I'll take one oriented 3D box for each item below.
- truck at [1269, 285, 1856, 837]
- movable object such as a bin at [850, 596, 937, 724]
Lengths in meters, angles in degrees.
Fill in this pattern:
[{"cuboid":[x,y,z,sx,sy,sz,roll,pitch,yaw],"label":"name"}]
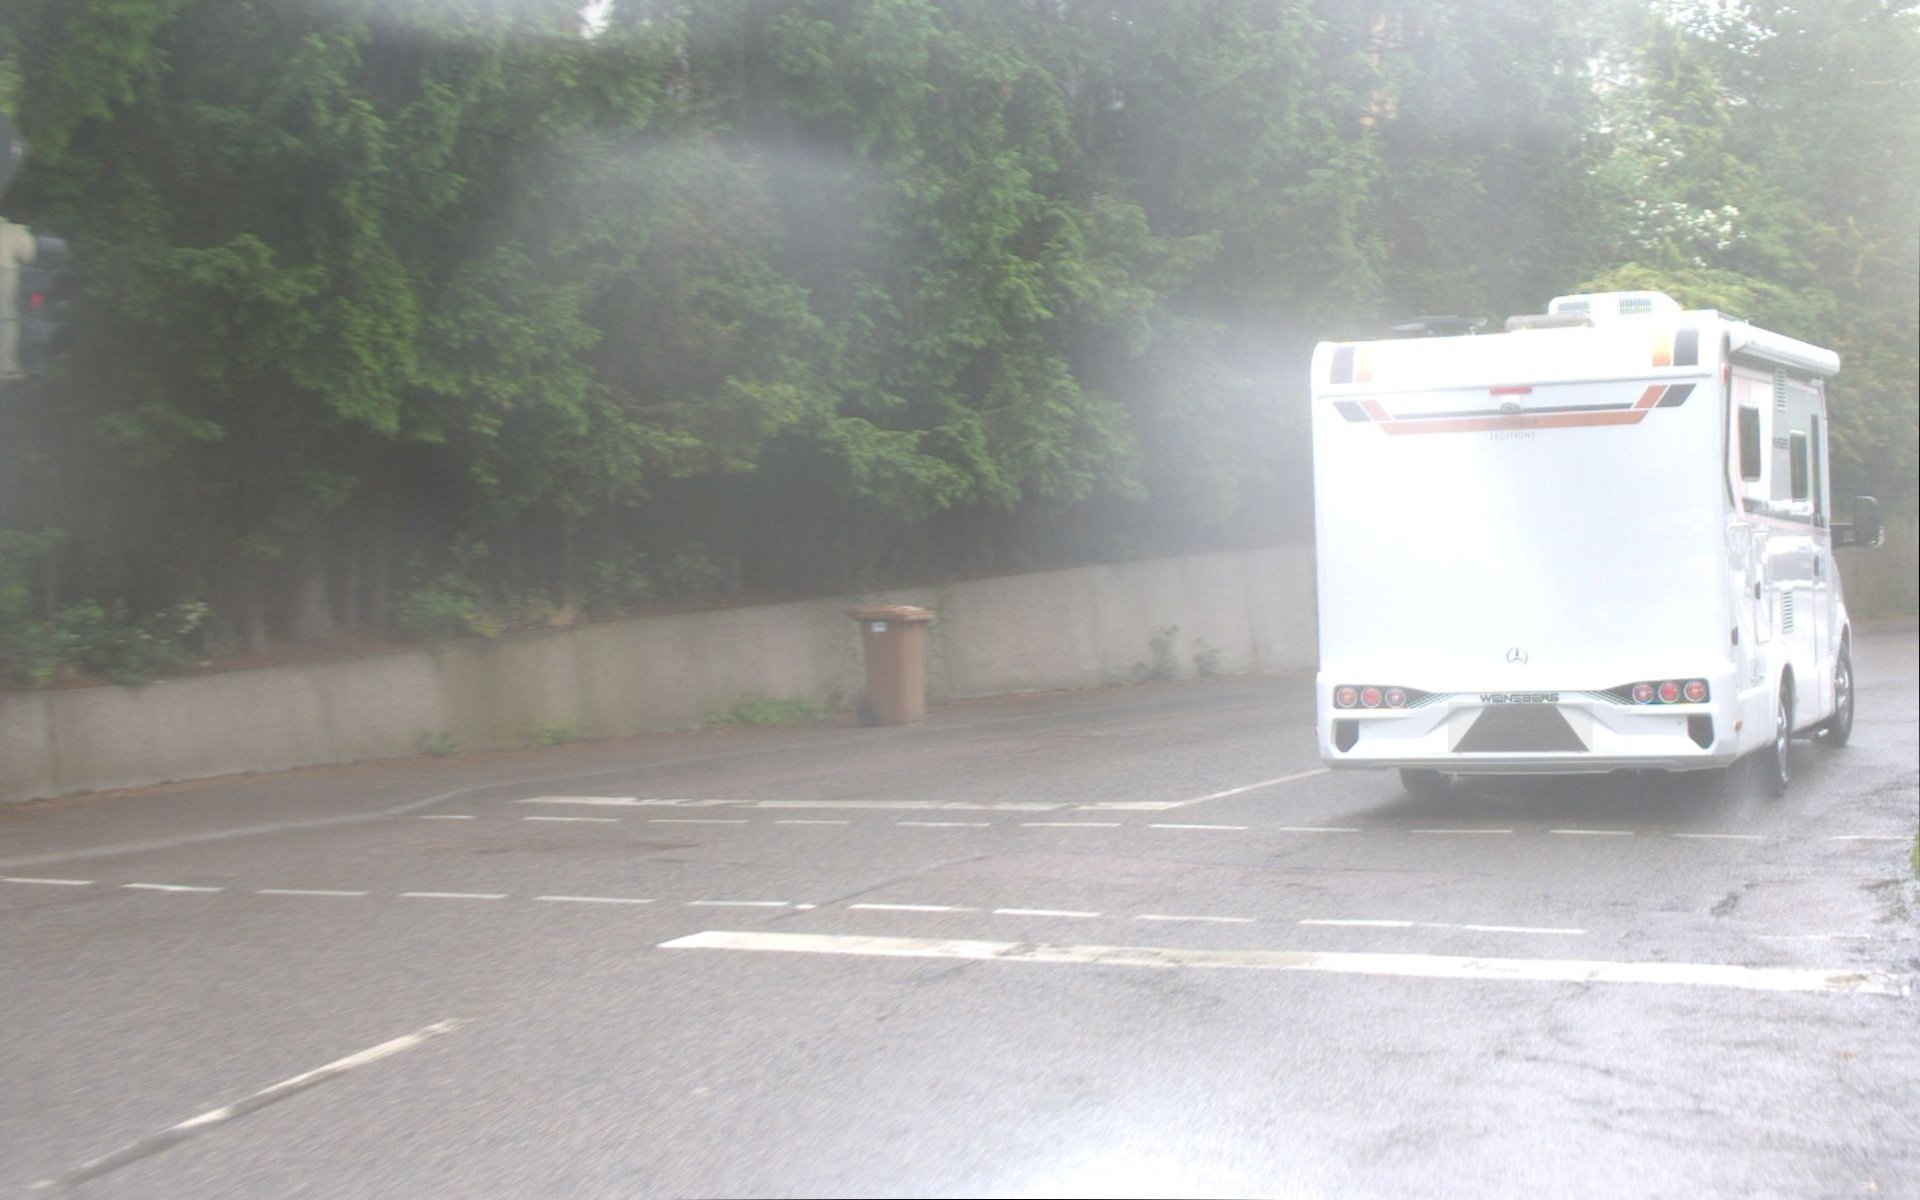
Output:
[{"cuboid":[3.869,-0.213,20.846,2.518,2.808,6.195,0,0,19],"label":"truck"},{"cuboid":[-0.519,0.466,26.886,0.500,0.976,0.489,0,1,28],"label":"movable object such as a bin"}]
